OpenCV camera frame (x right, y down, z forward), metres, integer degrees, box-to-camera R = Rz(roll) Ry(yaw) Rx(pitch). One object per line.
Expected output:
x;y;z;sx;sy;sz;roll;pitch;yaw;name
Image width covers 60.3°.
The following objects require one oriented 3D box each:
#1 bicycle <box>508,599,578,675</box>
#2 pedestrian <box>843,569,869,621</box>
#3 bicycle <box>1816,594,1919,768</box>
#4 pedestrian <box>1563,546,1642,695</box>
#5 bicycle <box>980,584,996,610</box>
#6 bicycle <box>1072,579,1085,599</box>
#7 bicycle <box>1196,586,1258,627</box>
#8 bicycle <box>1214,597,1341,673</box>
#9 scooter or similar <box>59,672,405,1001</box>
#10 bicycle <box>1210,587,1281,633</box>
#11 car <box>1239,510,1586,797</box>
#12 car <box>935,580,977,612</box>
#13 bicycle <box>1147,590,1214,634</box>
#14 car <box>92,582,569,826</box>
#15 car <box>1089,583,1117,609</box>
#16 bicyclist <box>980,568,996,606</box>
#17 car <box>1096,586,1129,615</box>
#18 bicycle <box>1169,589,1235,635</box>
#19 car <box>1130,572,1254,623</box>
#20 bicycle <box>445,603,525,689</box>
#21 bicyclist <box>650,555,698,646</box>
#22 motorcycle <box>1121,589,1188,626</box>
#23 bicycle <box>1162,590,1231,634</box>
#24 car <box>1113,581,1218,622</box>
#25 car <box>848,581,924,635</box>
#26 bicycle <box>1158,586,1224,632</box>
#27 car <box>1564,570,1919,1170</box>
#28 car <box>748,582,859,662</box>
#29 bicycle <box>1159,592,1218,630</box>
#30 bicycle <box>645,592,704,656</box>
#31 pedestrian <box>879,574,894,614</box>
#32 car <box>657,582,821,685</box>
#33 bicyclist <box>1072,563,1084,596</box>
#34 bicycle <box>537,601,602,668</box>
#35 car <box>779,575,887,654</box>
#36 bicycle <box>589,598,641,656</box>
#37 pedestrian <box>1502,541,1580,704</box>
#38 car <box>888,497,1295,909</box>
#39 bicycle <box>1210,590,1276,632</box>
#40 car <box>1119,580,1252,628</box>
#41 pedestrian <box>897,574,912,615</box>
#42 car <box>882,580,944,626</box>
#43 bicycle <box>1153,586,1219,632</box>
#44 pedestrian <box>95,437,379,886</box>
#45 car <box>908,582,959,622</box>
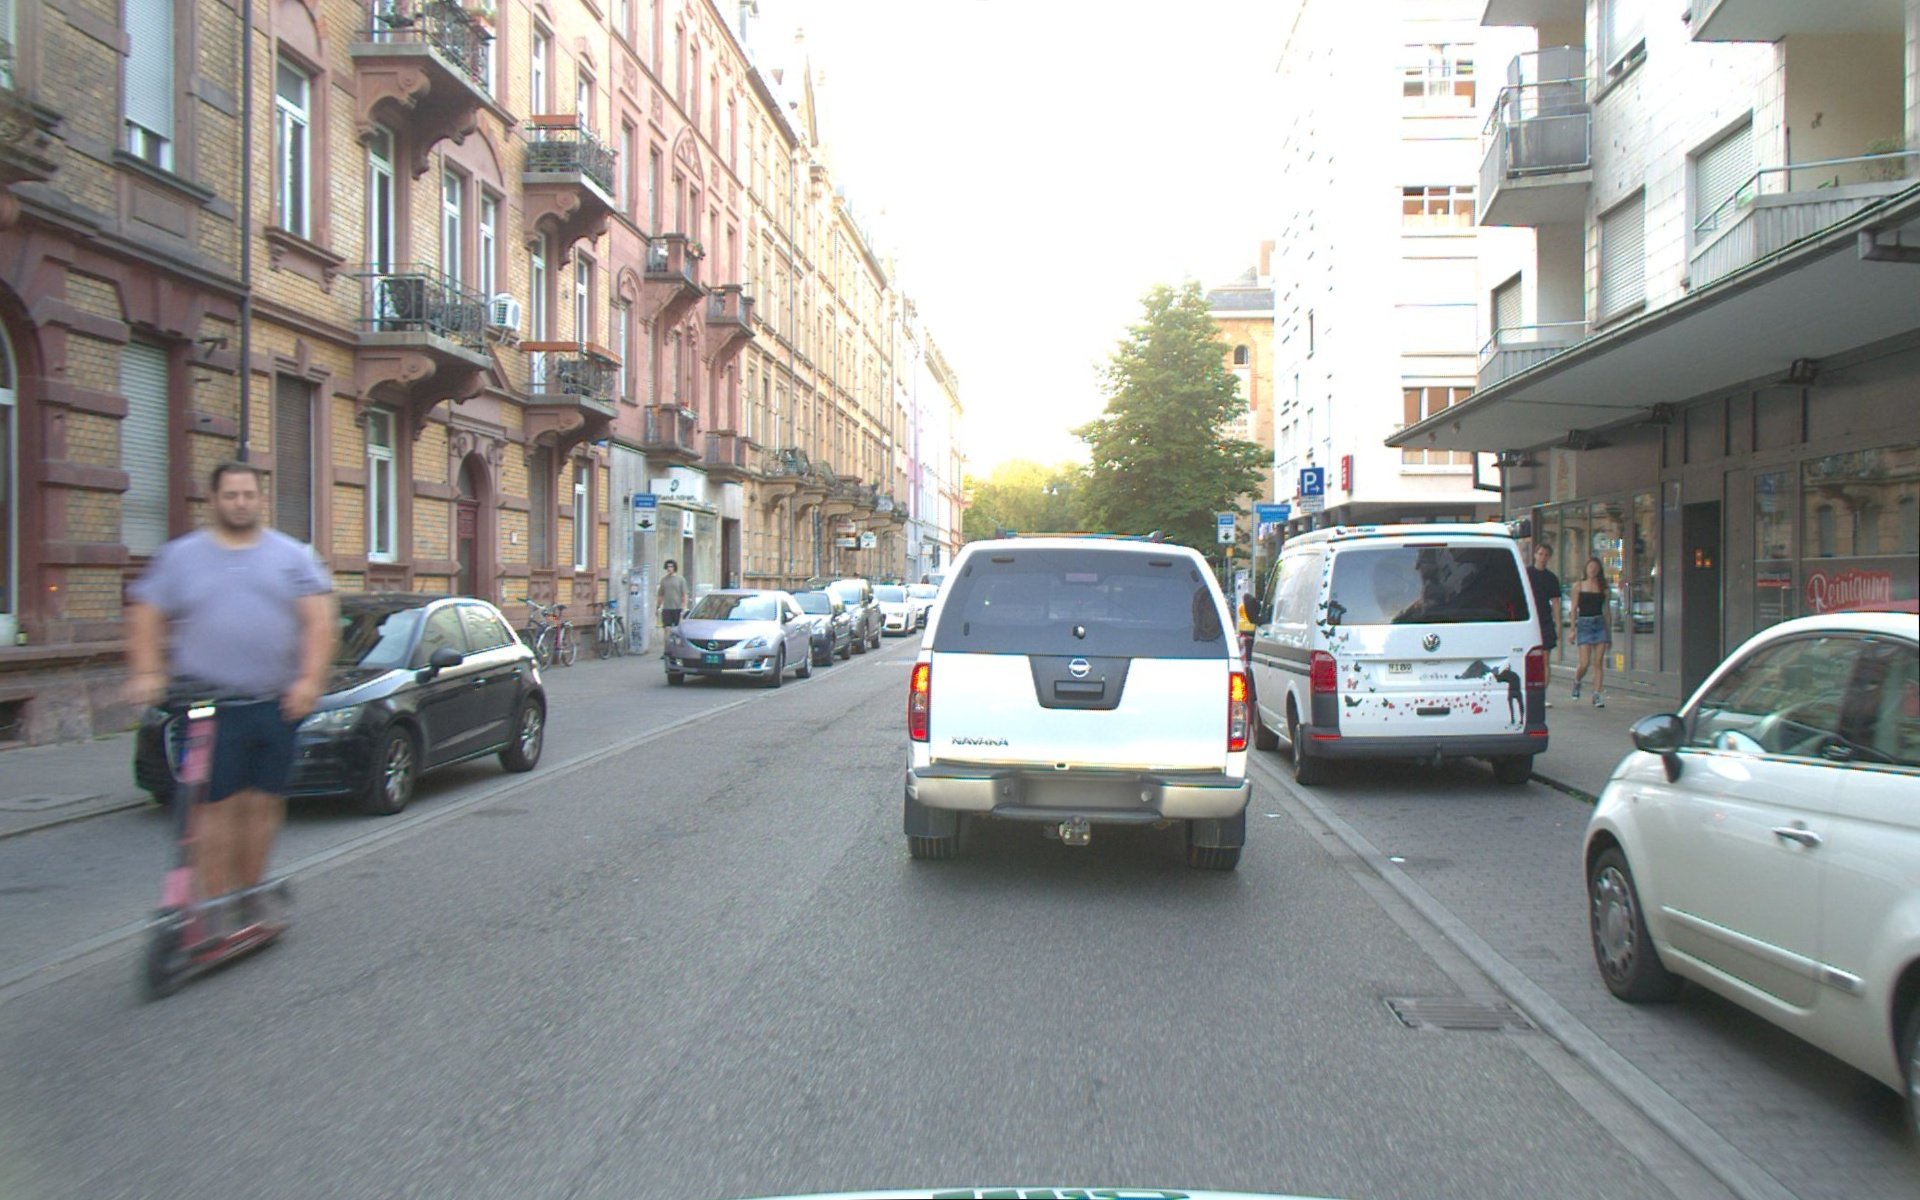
-6.762;0.576;26.882;0.537;1.143;1.761;3;1;4;bicycle
-3.620;-0.163;57.649;0.542;1.786;1.022;0;-1;19;pedestrian
7.217;0.570;12.021;0.893;1.216;1.707;-2;0;-10;bicycle
7.505;0.242;19.350;0.693;1.695;0.745;-2;-1;10;pedestrian
1.245;-0.137;73.118;0.631;1.100;2.168;-2;0;0;bicycle
6.637;-0.606;92.615;0.631;1.100;1.833;-2;0;2;bicycle
7.817;0.203;48.532;1.687;1.137;0.654;-2;0;1;bicycle
5.074;0.569;26.540;1.909;1.154;0.653;-2;0;41;bicycle
-2.846;0.888;6.599;0.790;1.123;1.173;-1;1;4;scooter or similar
7.475;0.262;43.312;1.690;1.151;0.578;-2;0;-8;bicycle
3.669;0.350;14.389;1.917;2.008;5.005;-2;1;4;car
-0.173;-0.201;80.088;1.700;1.443;4.780;2;0;3;car
5.955;0.322;44.698;1.686;1.137;0.707;-2;0;2;bicycle
-4.331;0.614;12.068;1.657;1.445;3.857;1;1;6;car
9.255;-0.282;106.914;1.641;1.527;3.903;-3;0;5;car
1.235;-0.585;73.128;0.631;1.649;0.918;-2;0;0;bicyclist
8.326;0.016;90.294;1.641;1.453;4.481;-4;0;4;car
6.392;0.318;43.807;1.686;1.137;0.707;-2;0;7;bicycle
8.405;-0.104;60.296;4.307;1.676;1.747;-2;0;3;car
-6.810;0.638;23.771;0.723;1.143;1.610;1;1;-3;bicycle
-5.620;0.014;32.490;0.699;1.760;0.836;1;-1;-26;bicyclist
6.305;0.246;53.546;2.021;1.097;0.662;-2;0;-12;motorcycle
6.486;0.328;45.455;1.771;1.137;0.707;-2;0;2;bicycle
8.106;0.058;65.498;3.904;1.481;1.829;-2;0;1;car
-2.116;0.203;48.398;1.721;1.436;4.511;1;1;4;car
6.643;0.257;47.614;1.750;1.202;0.734;-4;-1;14;bicycle
3.252;0.675;5.110;1.559;1.527;3.424;-2;0;1;car
-3.023;0.388;32.583;1.551;1.445;3.699;1;1;4;car
6.866;0.329;49.818;1.683;1.049;0.668;-4;-1;6;bicycle
-5.615;0.474;32.458;0.699;1.217;1.727;1;-1;-26;bicycle
-3.344;-0.289;75.668;0.568;1.802;0.997;3;1;0;pedestrian
-3.402;0.474;26.260;1.686;1.445;4.584;1;0;4;car
6.613;-1.141;92.574;0.631;1.791;0.648;-2;0;2;bicyclist
-6.662;0.573;28.282;0.537;1.055;1.761;3;1;4;bicycle
-2.830;0.269;37.818;1.814;1.662;4.448;1;1;4;car
-6.600;0.493;31.699;0.440;1.040;1.849;3;1;4;bicycle
6.838;0.263;19.502;0.693;1.860;0.861;-2;-1;11;pedestrian
0.865;0.438;10.491;1.870;1.885;5.274;2;1;5;car
7.577;0.294;44.333;1.686;1.072;0.654;-2;0;7;bicycle
7.820;0.118;57.563;4.334;1.480;1.779;-2;0;-2;car
-2.550;-0.255;75.867;0.593;1.803;0.777;3;1;0;pedestrian
-1.615;0.070;57.919;1.681;1.483;4.003;2;1;5;car
6.631;0.265;48.460;1.829;1.202;0.743;-4;-1;9;bicycle
-2.854;0.232;6.594;0.790;1.689;0.673;-1;1;4;pedestrian
-1.026;0.049;65.723;1.747;1.447;4.486;2;1;2;car
